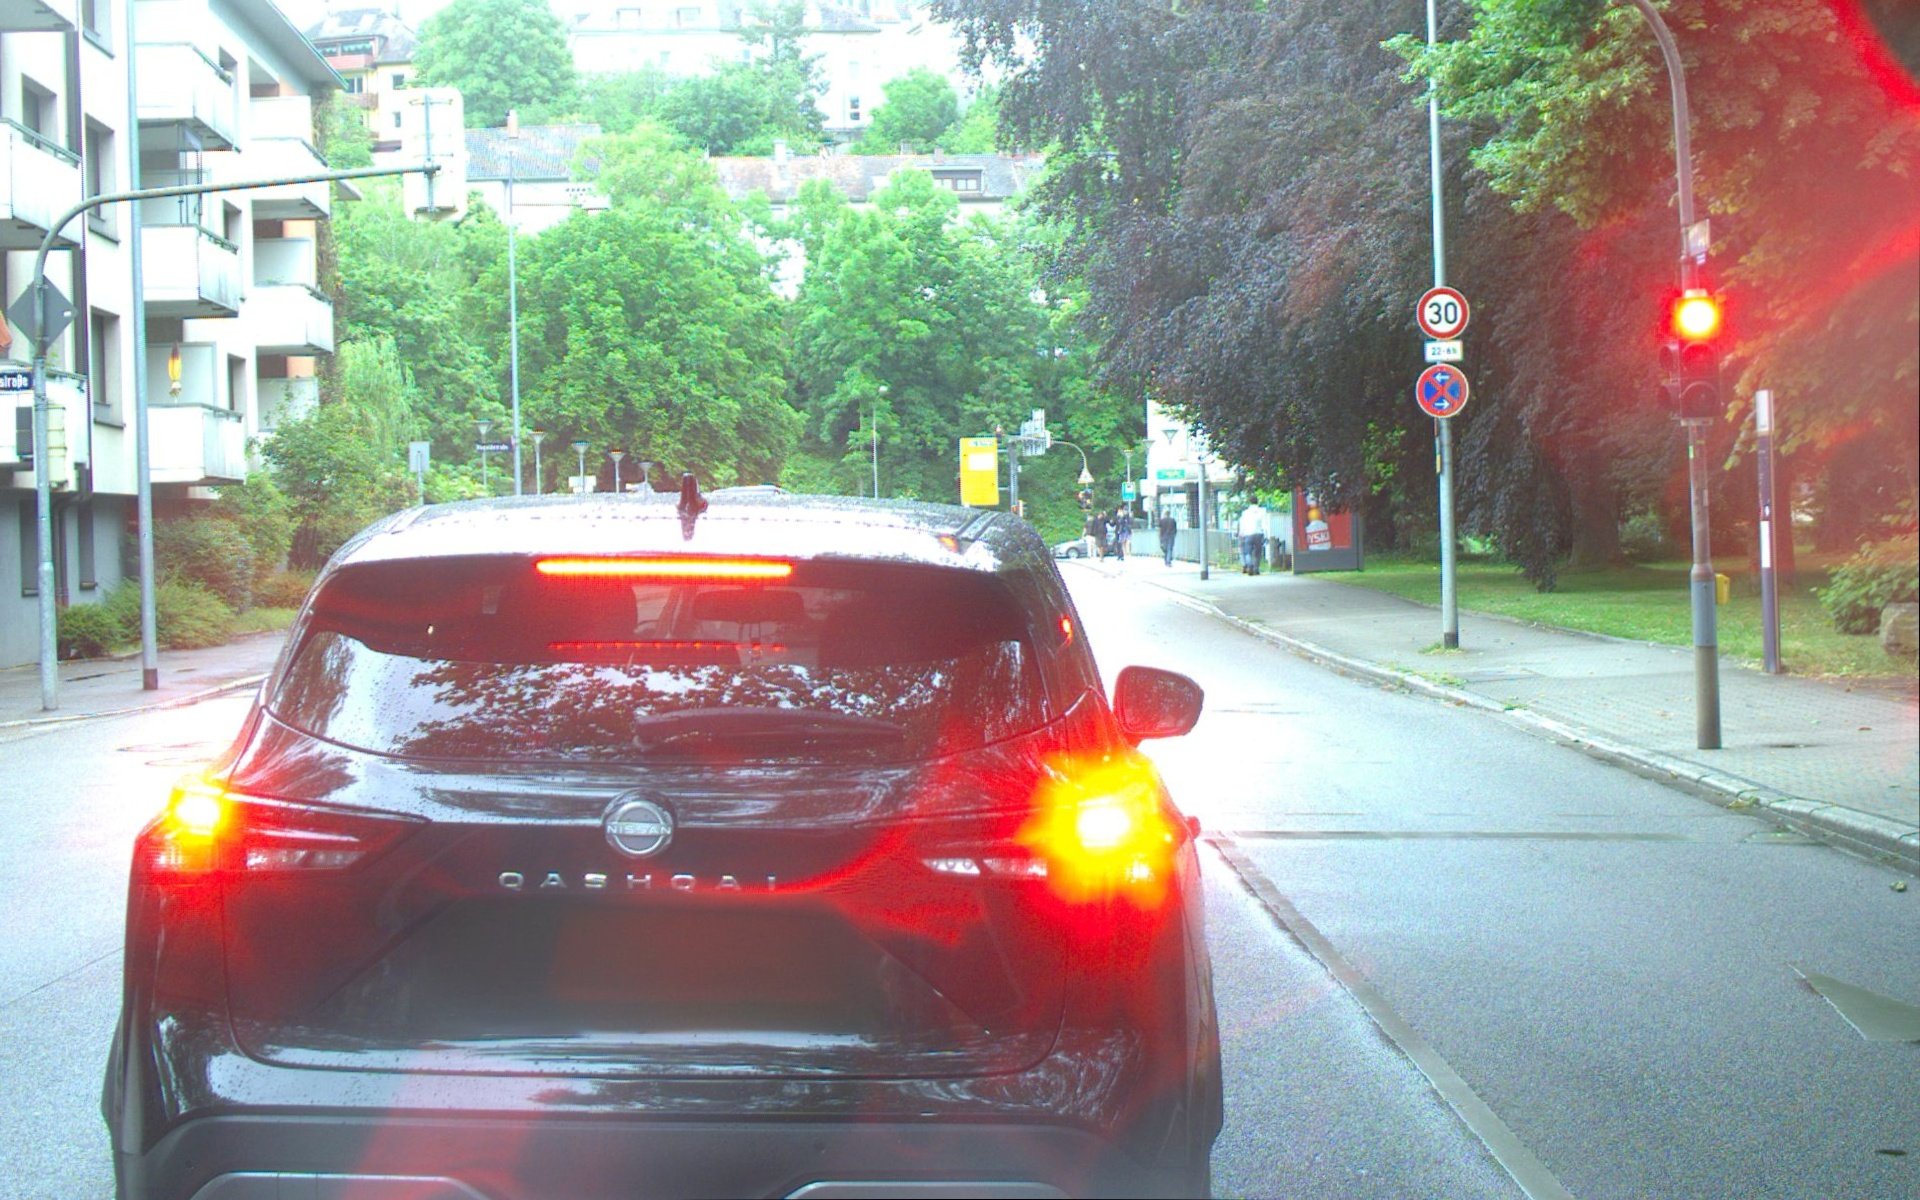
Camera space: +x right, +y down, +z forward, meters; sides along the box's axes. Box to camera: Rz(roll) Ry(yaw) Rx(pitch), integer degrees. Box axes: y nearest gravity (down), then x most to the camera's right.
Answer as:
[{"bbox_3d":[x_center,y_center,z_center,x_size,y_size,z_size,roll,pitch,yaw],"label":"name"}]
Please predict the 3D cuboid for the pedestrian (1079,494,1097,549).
[{"bbox_3d":[4.260,-2.599,114.170,0.508,1.796,0.619,-2,1,-1],"label":"pedestrian"}]

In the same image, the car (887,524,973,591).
[{"bbox_3d":[-0.699,-0.970,77.305,1.825,1.399,4.651,-2,1,-1],"label":"car"}]

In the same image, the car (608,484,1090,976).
[{"bbox_3d":[-0.425,0.438,14.396,1.698,1.739,3.641,-2,1,-1],"label":"car"}]

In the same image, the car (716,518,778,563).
[{"bbox_3d":[-7.666,-2.140,123.936,1.970,1.527,3.968,-2,1,-1],"label":"car"}]

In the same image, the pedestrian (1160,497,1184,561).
[{"bbox_3d":[5.996,-2.001,97.296,0.508,1.796,0.619,-2,1,-6],"label":"pedestrian"}]

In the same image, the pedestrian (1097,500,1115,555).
[{"bbox_3d":[4.845,-2.409,114.106,0.508,1.796,0.659,-2,1,0],"label":"pedestrian"}]

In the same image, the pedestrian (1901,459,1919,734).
[{"bbox_3d":[7.028,-0.050,23.169,1.035,1.869,0.658,-4,1,-11],"label":"pedestrian"}]

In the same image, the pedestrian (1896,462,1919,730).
[{"bbox_3d":[7.201,-0.056,23.921,1.035,1.869,0.658,-4,1,-11],"label":"pedestrian"}]

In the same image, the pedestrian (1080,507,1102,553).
[{"bbox_3d":[4.768,-2.562,125.443,0.509,1.667,0.658,-2,1,27],"label":"pedestrian"}]

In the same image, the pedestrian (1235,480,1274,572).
[{"bbox_3d":[6.525,-1.650,76.255,0.725,2.007,0.851,-2,1,0],"label":"pedestrian"}]

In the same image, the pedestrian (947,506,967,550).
[{"bbox_3d":[-0.113,-2.829,135.091,0.509,1.667,0.658,-2,1,27],"label":"pedestrian"}]

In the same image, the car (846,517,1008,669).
[{"bbox_3d":[-0.342,-0.126,41.343,1.722,1.672,4.313,-2,1,2],"label":"car"}]

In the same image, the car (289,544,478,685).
[{"bbox_3d":[-6.808,0.132,40.913,1.795,1.528,3.868,-2,1,-4],"label":"car"}]

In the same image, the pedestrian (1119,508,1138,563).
[{"bbox_3d":[5.552,-2.134,113.451,0.508,1.796,0.619,-2,1,-2],"label":"pedestrian"}]

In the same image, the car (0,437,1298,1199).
[{"bbox_3d":[-0.486,0.562,6.994,1.913,1.674,4.000,0,1,0],"label":"car"}]
